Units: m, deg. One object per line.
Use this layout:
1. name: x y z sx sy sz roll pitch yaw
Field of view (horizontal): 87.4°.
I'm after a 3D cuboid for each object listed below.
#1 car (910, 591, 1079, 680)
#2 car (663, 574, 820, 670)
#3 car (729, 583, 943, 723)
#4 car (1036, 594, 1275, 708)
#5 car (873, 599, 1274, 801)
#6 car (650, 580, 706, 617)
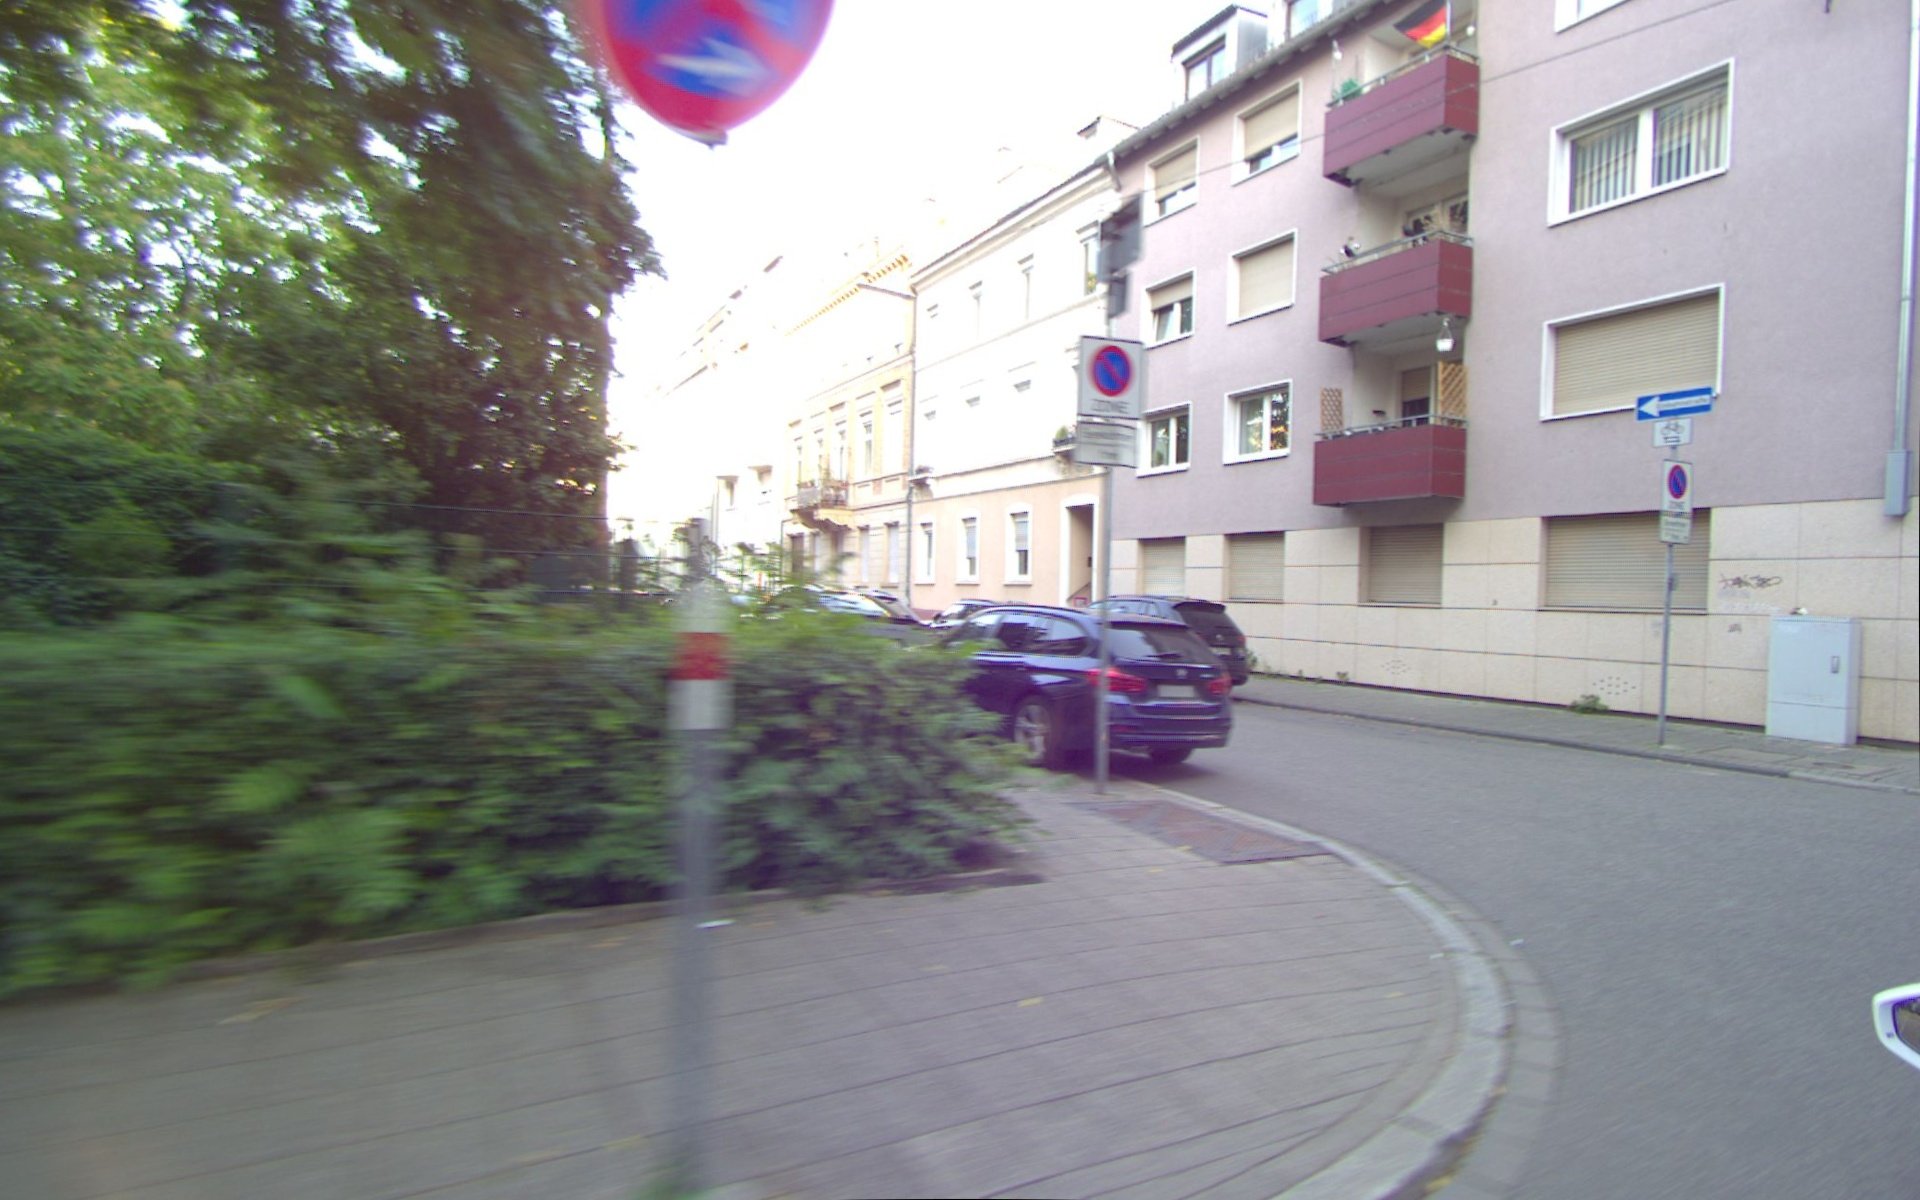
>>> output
1. car: 0.638 0.710 21.745 1.800 1.656 3.942 4 -1 -30
2. car: -4.221 0.356 18.925 1.808 1.597 3.969 2 0 -29
3. car: -1.951 0.656 14.596 1.706 1.727 4.096 2 0 -28
4. car: 3.180 0.794 17.107 1.800 1.656 3.942 4 -1 -30
5. car: 0.858 0.806 10.090 1.707 1.501 4.349 2 0 -31
6. car: -12.396 -0.090 44.034 1.543 1.460 3.346 4 -1 -30
